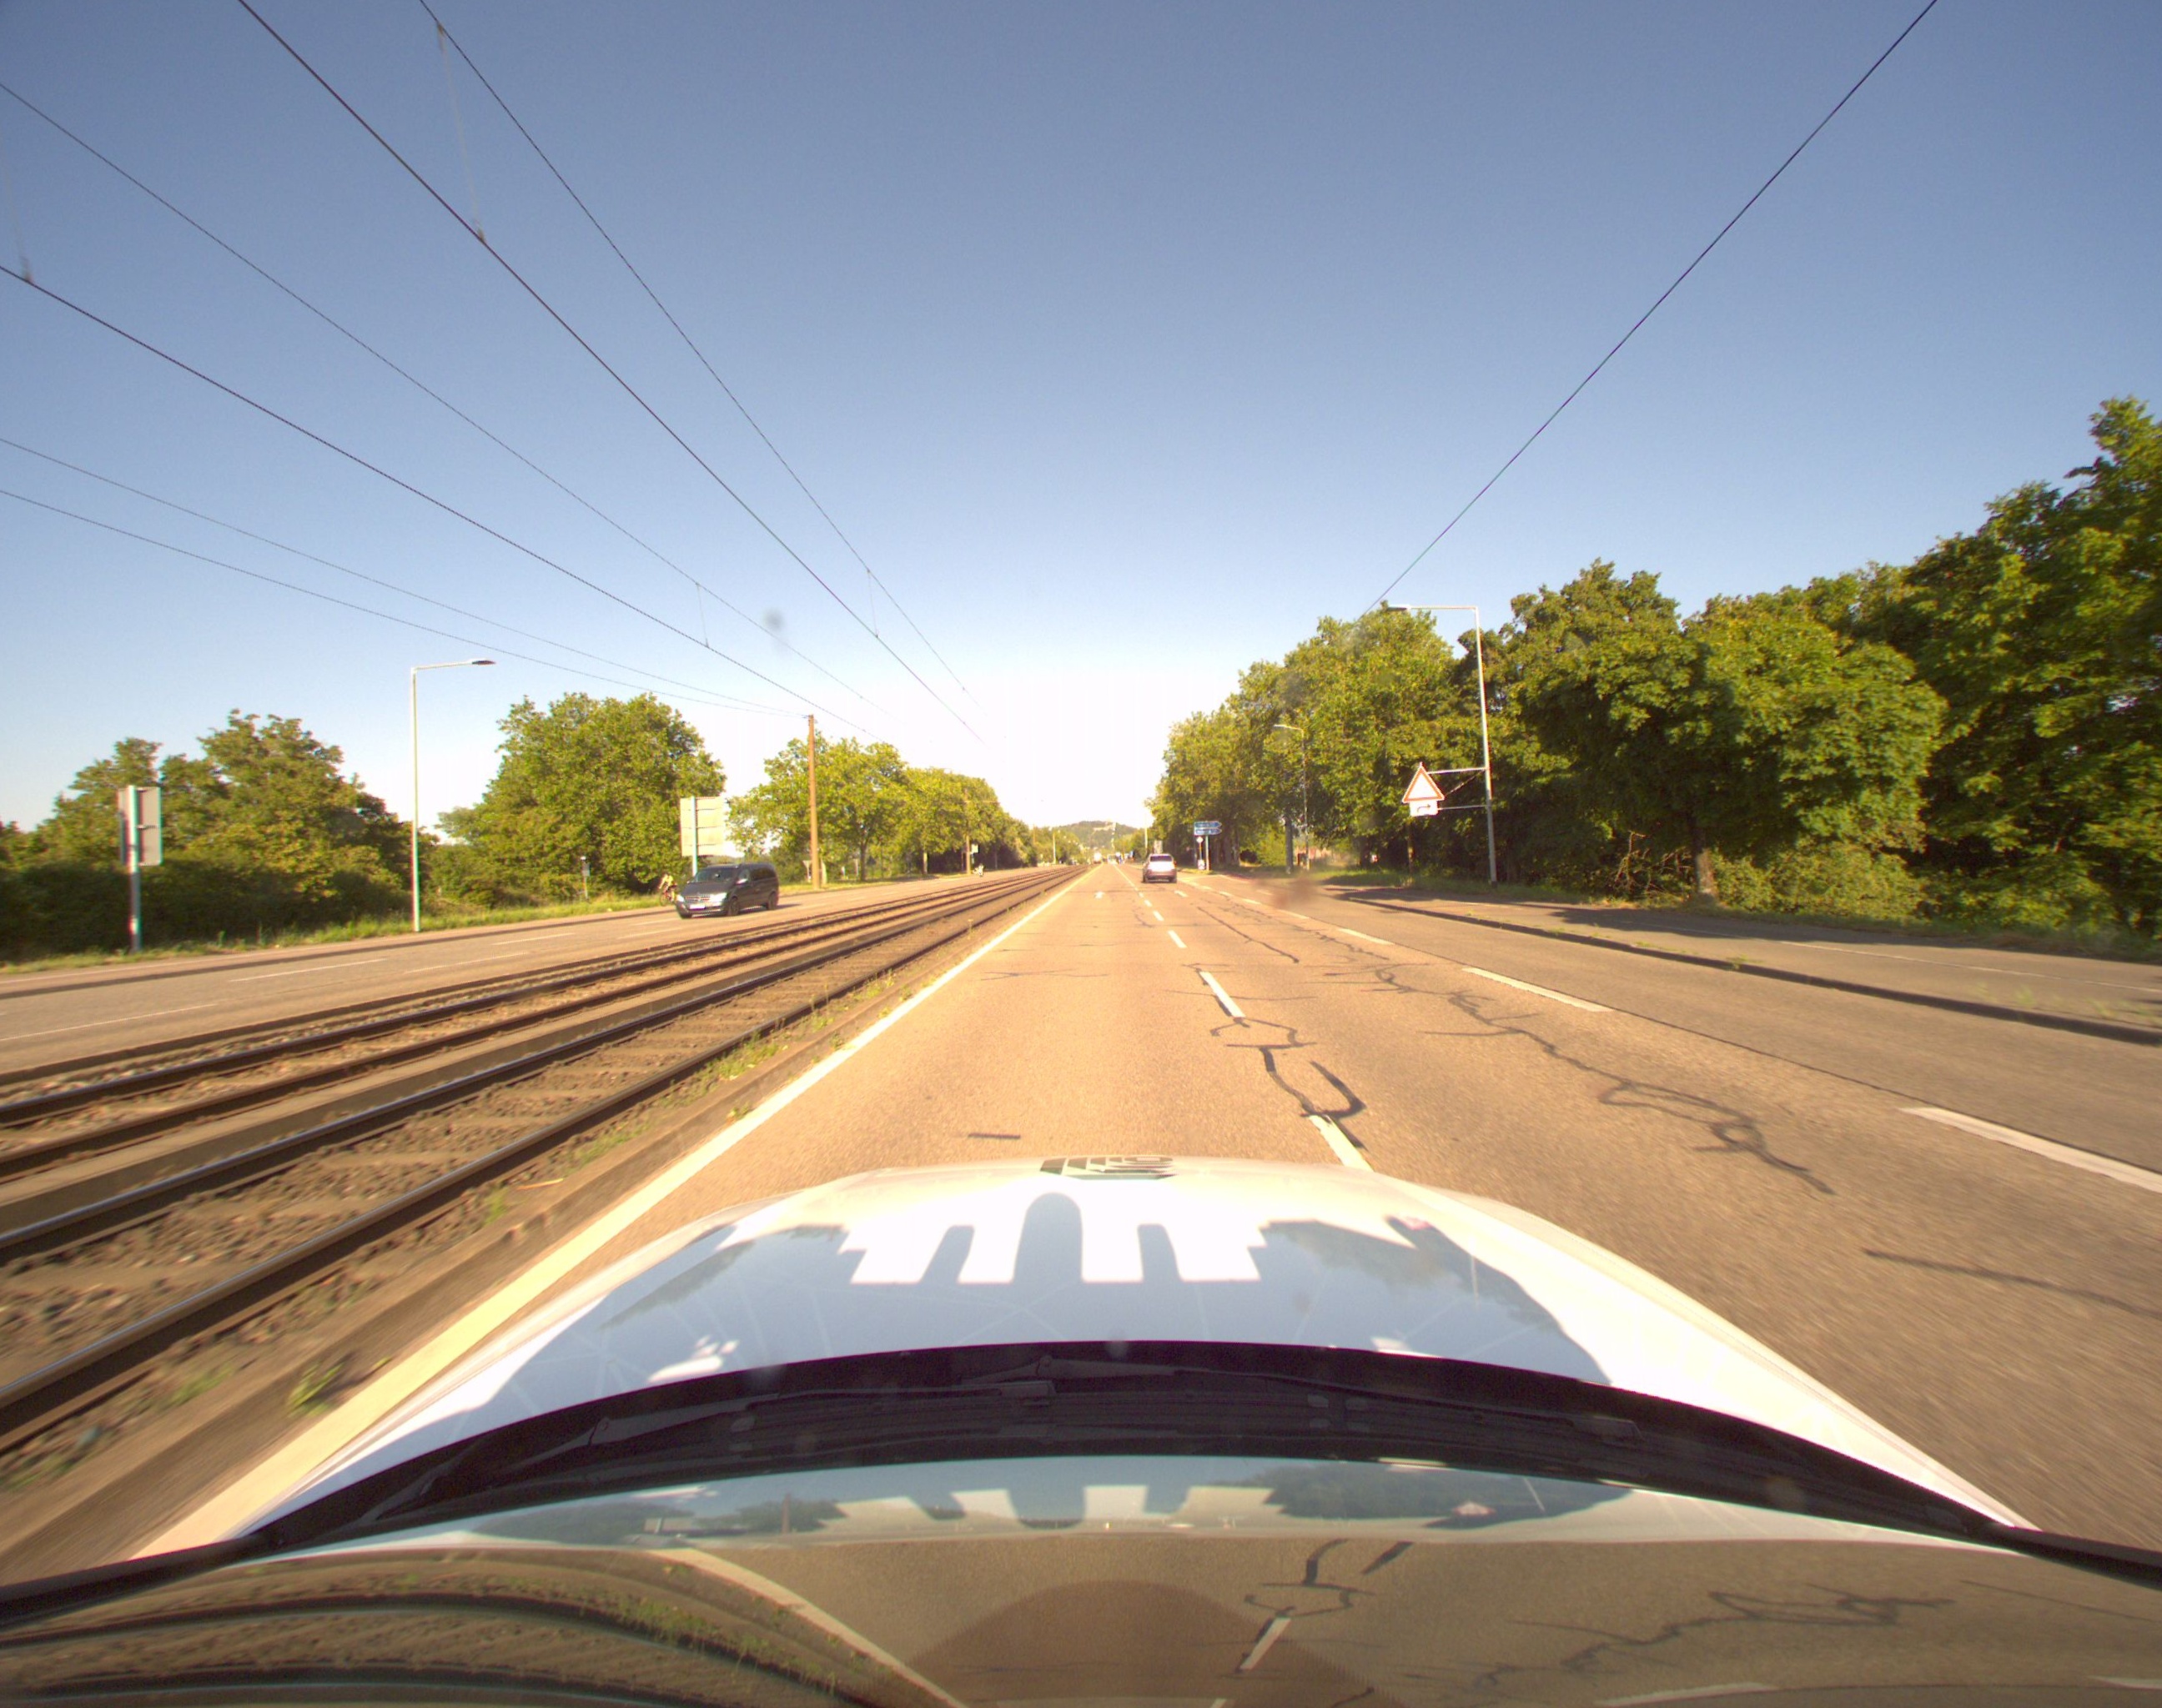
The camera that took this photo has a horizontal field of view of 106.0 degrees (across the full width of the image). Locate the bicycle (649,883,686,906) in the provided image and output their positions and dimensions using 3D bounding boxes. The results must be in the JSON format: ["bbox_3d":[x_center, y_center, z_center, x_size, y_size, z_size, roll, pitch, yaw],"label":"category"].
[{"bbox_3d":[-20.025,1.959,39.507,0.588,1.022,2.186,-2,-1,1],"label":"bicycle"}]

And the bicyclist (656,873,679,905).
[{"bbox_3d":[-20.035,1.696,39.473,0.588,1.528,0.906,-2,-1,1],"label":"bicyclist"}]

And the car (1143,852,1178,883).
[{"bbox_3d":[4.635,0.772,47.890,1.880,1.693,4.261,-1,-1,4],"label":"car"}]

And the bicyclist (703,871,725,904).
[{"bbox_3d":[-18.662,1.686,41.439,0.588,1.611,0.967,-2,-1,1],"label":"bicyclist"}]

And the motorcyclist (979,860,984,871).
[{"bbox_3d":[-11.469,1.344,93.798,0.534,1.270,0.805,0,-1,2],"label":"motorcyclist"}]

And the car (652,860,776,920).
[{"bbox_3d":[-13.058,1.224,29.395,1.985,1.923,4.864,-2,-1,3],"label":"car"}]

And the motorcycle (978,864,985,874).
[{"bbox_3d":[-11.467,1.717,93.814,0.533,1.091,1.903,0,-1,2],"label":"motorcycle"}]
